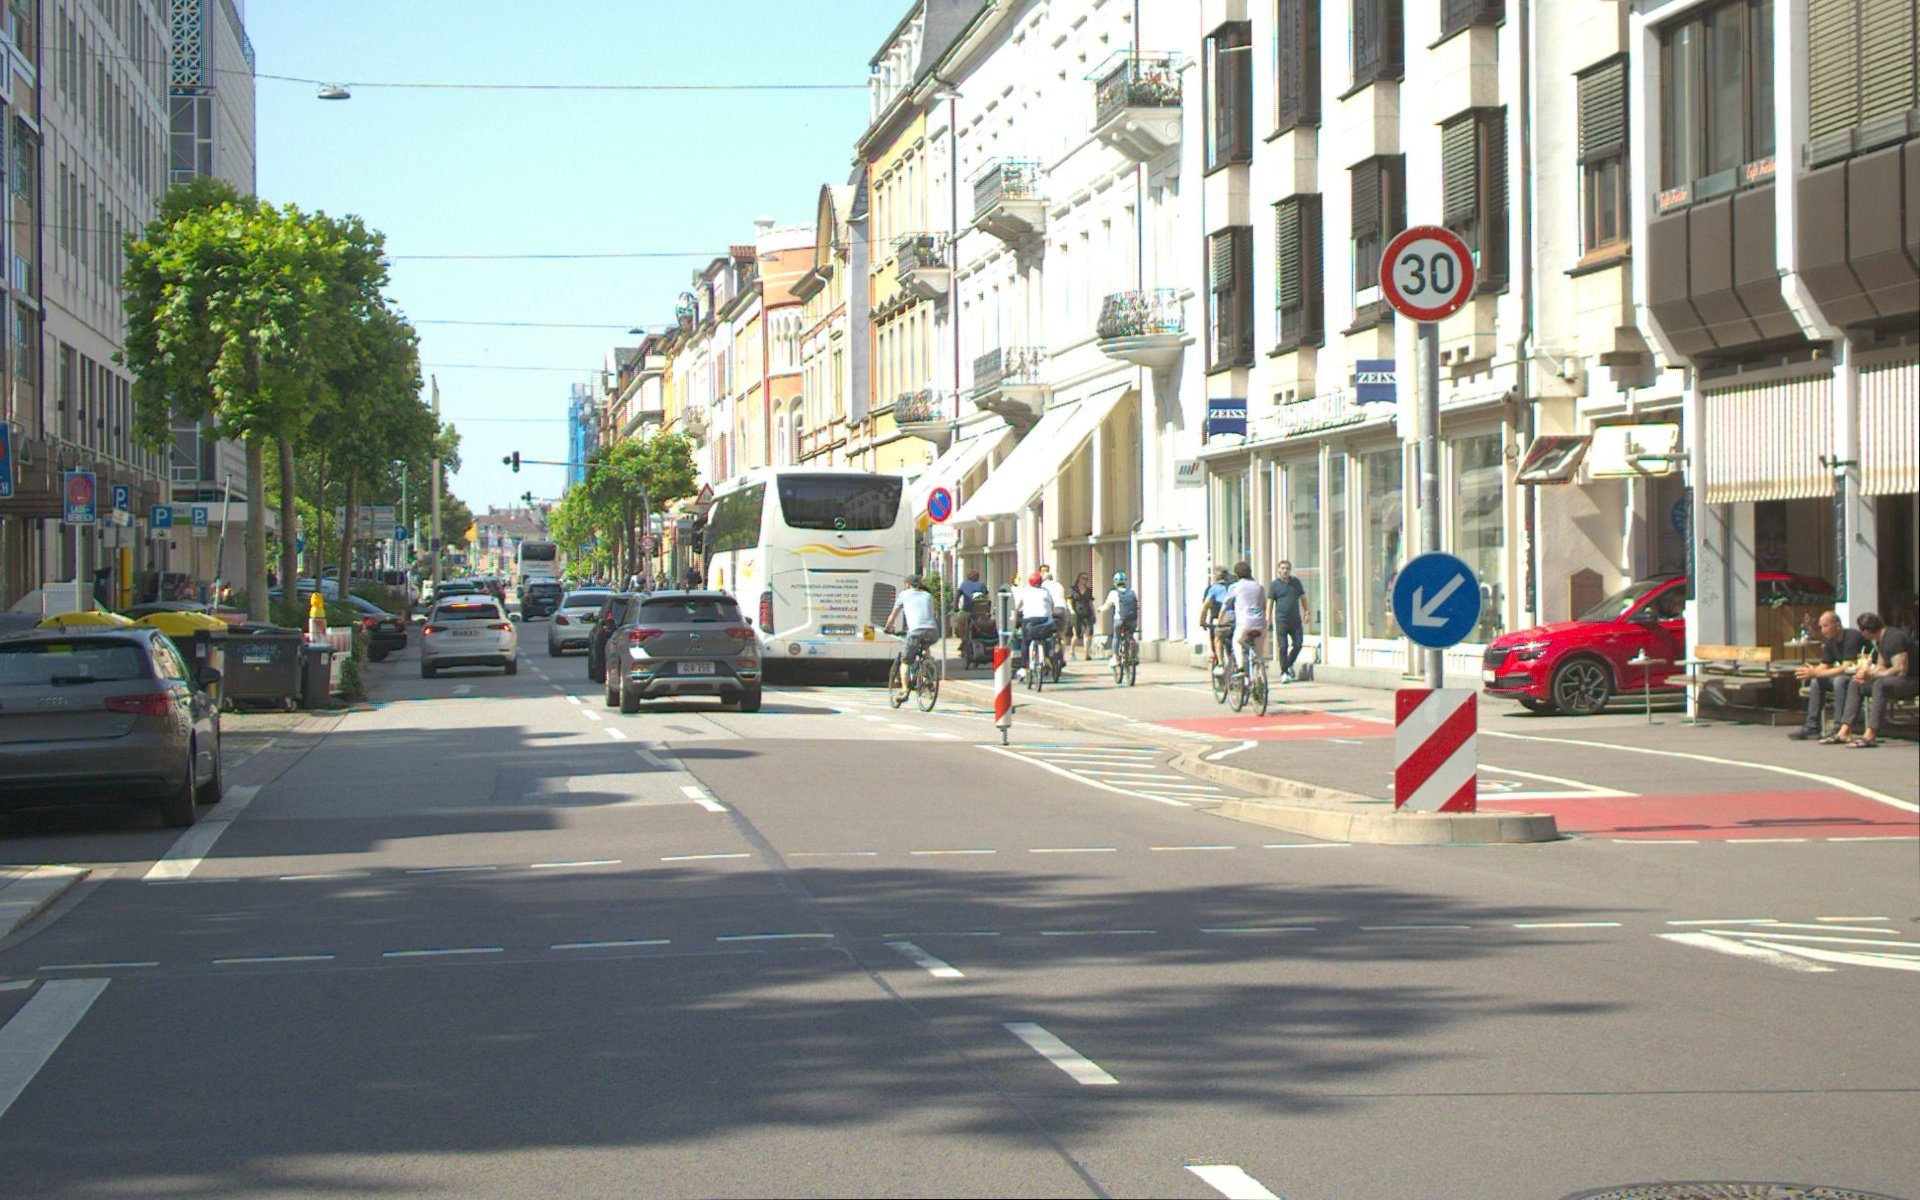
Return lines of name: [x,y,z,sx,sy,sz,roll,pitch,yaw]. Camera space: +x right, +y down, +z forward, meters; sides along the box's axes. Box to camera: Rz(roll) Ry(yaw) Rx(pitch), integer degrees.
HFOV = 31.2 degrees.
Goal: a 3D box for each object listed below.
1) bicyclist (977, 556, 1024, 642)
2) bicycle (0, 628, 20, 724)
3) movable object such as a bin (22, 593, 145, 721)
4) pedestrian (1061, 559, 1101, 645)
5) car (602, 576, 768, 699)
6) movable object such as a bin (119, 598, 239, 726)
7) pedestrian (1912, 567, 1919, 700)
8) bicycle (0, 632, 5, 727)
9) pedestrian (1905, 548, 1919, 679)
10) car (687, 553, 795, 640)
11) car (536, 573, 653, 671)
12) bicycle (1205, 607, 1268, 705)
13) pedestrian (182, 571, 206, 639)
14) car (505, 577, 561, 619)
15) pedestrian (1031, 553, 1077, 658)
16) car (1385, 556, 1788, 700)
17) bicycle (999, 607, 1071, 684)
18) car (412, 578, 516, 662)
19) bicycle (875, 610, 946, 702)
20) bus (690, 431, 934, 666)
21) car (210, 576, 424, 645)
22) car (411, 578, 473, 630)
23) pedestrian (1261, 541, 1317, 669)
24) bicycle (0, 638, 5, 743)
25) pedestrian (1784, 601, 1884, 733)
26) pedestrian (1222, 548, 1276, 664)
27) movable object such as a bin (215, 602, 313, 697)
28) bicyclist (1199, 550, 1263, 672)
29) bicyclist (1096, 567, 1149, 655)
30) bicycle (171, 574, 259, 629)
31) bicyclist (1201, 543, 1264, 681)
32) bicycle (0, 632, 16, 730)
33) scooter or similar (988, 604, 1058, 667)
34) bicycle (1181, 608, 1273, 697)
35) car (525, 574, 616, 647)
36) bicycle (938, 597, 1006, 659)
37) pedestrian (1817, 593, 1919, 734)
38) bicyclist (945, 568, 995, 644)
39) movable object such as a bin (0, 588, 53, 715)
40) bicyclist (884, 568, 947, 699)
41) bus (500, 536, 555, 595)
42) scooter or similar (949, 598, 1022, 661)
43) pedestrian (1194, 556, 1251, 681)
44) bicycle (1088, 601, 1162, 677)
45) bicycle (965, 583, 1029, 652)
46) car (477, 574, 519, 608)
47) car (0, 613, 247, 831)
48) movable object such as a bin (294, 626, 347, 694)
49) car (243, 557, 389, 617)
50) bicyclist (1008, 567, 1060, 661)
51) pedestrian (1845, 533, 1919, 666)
bicyclist: [0.648,-0.025,55.134,0.620,1.366,0.781,0,0,-10]
bicycle: [-11.972,0.883,39.993,1.966,1.117,0.509,0,-1,-11]
movable object such as a bin: [-10.438,0.671,40.996,1.123,1.446,1.439,1,1,-2]
pedestrian: [2.287,0.035,65.214,0.645,1.612,0.822,0,-1,-5]
car: [-3.608,0.467,44.537,1.832,1.522,4.001,0,0,-9]
movable object such as a bin: [-9.311,0.727,41.040,1.123,1.446,1.439,1,1,-2]
pedestrian: [10.246,0.341,35.308,0.760,1.363,0.478,-1,0,-9]
bicycle: [-11.733,0.913,38.731,1.843,1.069,0.557,-1,-2,-11]
pedestrian: [10.345,0.140,35.869,0.744,1.363,0.584,-1,0,-9]
car: [-4.954,-0.108,77.264,1.826,1.857,4.355,1,1,-12]
car: [-6.194,0.377,58.094,1.833,1.522,4.001,-2,0,-7]
bicycle: [3.315,0.657,41.360,0.594,1.116,1.801,-1,1,0]
pedestrian: [-18.876,0.118,84.710,0.565,1.651,0.637,0,0,-15]
car: [-15.513,-0.076,124.798,1.862,1.436,4.001,-1,1,-9]
pedestrian: [1.548,0.092,56.550,0.620,1.714,0.835,0,0,-8]
car: [6.997,0.327,38.622,4.044,1.490,1.842,-1,-2,-6]
bicycle: [1.094,0.652,50.384,0.620,1.095,2.353,0,0,-10]
car: [-9.367,0.404,64.820,1.862,1.436,4.000,1,-2,-9]
bicycle: [-0.668,0.730,45.533,0.664,1.116,2.244,1,1,-8]
bus: [-2.857,-0.889,61.472,2.881,3.729,12.429,1,0,-9]
car: [-14.711,0.216,78.588,4.790,1.418,1.880,2,1,32]
car: [-15.334,0.095,101.767,1.742,1.436,4.001,-1,1,-8]
pedestrian: [4.799,0.080,50.166,0.694,1.844,0.835,-1,-1,1]
bicycle: [-11.321,0.944,36.471,2.235,1.117,0.557,1,-1,-19]
pedestrian: [7.905,0.601,31.114,0.711,1.169,0.696,-1,-1,1]
pedestrian: [4.239,0.088,50.492,0.694,1.680,0.835,-1,0,1]
movable object such as a bin: [-9.661,0.681,47.774,1.277,1.295,0.853,-1,0,-8]
bicyclist: [3.444,0.136,43.761,0.620,1.524,0.869,0,0,-10]
bicyclist: [2.429,0.161,51.487,0.620,1.292,0.867,0,0,-10]
bicycle: [-18.324,0.033,84.577,2.064,1.284,0.368,2,0,-15]
bicyclist: [3.248,0.136,41.037,0.694,1.620,0.835,-1,0,3]
bicycle: [-11.867,0.914,39.401,1.973,1.117,0.509,1,-1,-11]
scooter or similar: [0.973,0.544,53.527,0.865,0.953,1.213,0,0,-10]
bicycle: [3.389,0.656,43.856,0.620,1.095,2.353,0,0,-10]
car: [-8.737,0.249,76.836,1.832,1.522,4.001,-2,0,-8]
bicycle: [0.203,0.502,62.617,0.837,1.095,2.353,0,0,-10]
pedestrian: [7.994,0.557,30.262,0.711,1.213,0.696,-1,-1,1]
bicyclist: [0.178,0.106,62.540,0.787,1.374,0.723,0,0,-10]
movable object such as a bin: [-11.608,0.596,41.077,1.209,1.446,1.364,1,1,-2]
bicyclist: [-0.594,0.436,45.450,0.694,1.668,0.916,1,1,-7]
bus: [-27.378,-2.204,217.479,2.769,3.593,8.976,-1,1,-11]
scooter or similar: [0.448,0.514,60.903,1.121,1.098,1.086,0,0,-9]
pedestrian: [3.659,0.258,47.988,0.620,1.714,0.835,-1,0,-5]
bicycle: [2.454,0.568,51.355,0.620,1.095,2.353,0,0,-10]
bicycle: [0.588,0.270,55.327,0.620,1.095,2.353,0,0,-10]
car: [-21.984,-0.423,163.605,1.862,1.436,4.001,-2,-1,-9]
car: [-6.401,0.832,25.109,1.936,1.350,4.250,-1,1,-7]
movable object such as a bin: [-9.182,0.864,49.348,0.553,0.936,0.500,-3,2,-34]
car: [-19.823,-0.404,105.892,3.991,1.563,1.698,4,0,17]
bicyclist: [1.085,0.205,50.390,0.620,1.366,0.781,0,0,-10]
pedestrian: [9.625,-0.009,35.830,0.535,1.363,0.689,-1,0,-7]
